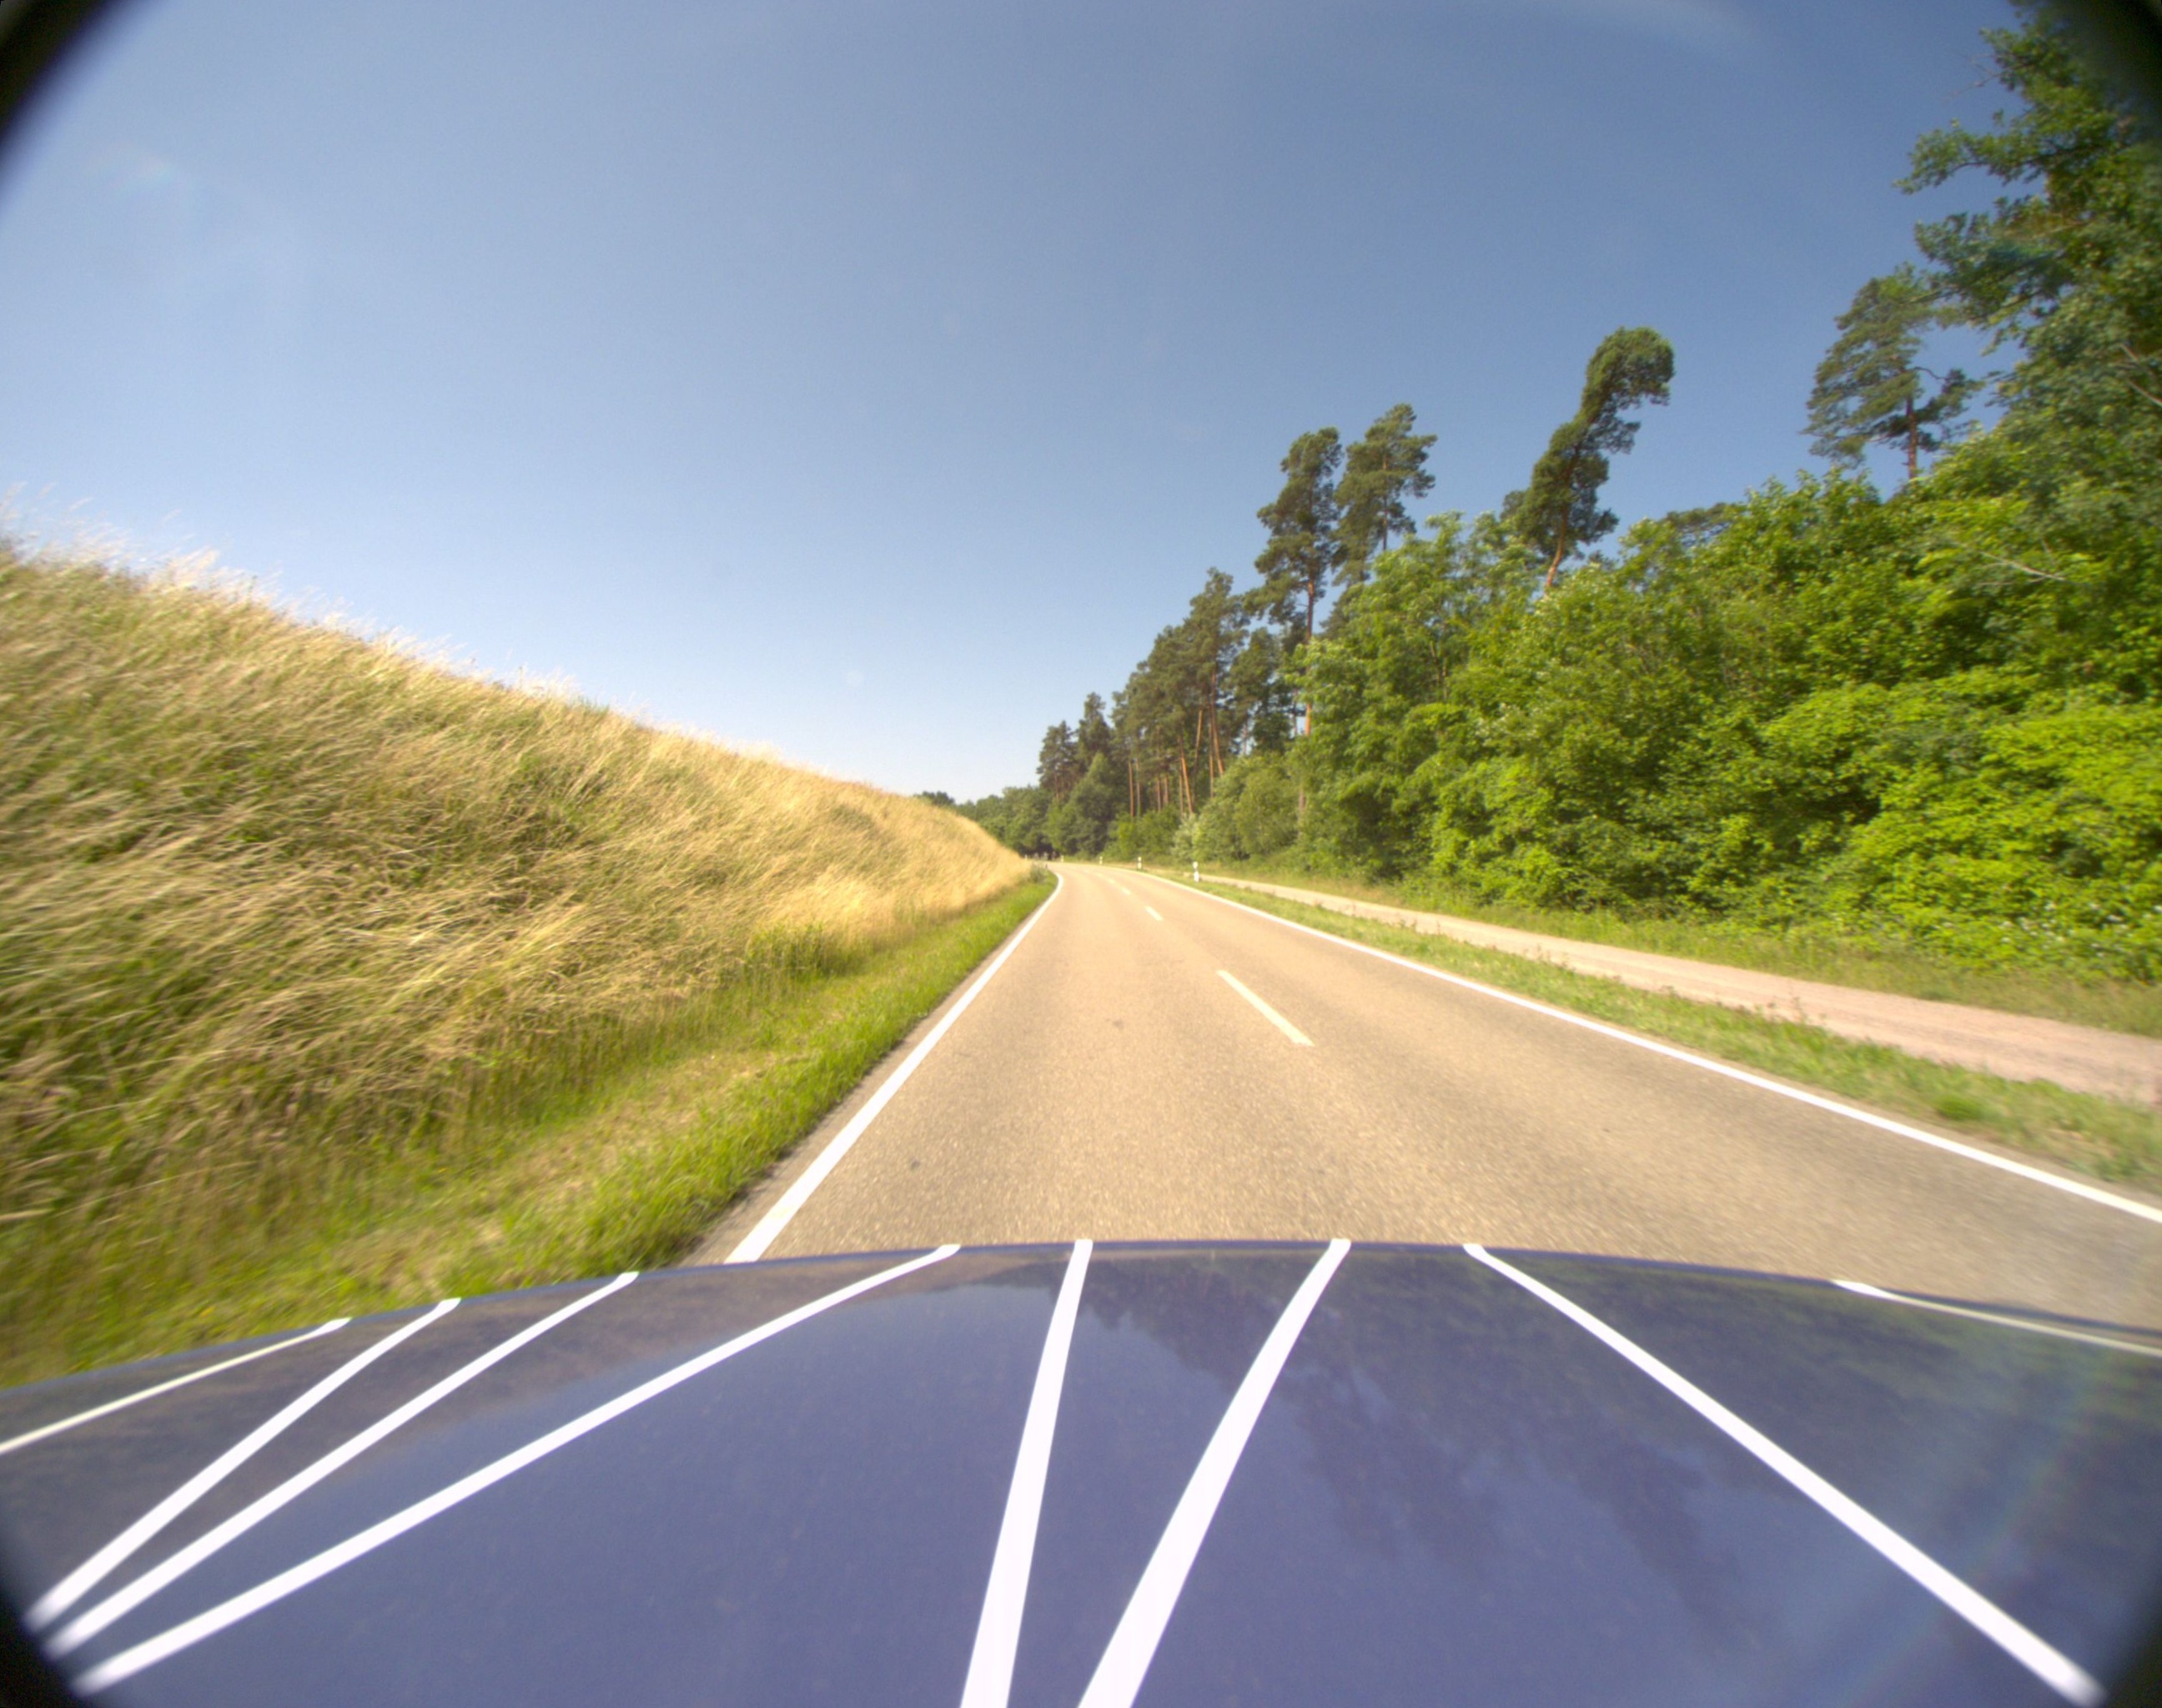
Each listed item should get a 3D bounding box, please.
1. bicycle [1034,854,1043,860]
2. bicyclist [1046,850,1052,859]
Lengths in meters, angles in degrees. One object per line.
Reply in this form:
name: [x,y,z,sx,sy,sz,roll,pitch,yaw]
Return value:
bicycle: [-8.300,0.591,148.053,0.605,0.824,1.988,-13,-2,27]
bicyclist: [-6.058,0.051,143.375,0.604,1.709,0.790,-1,3,30]
